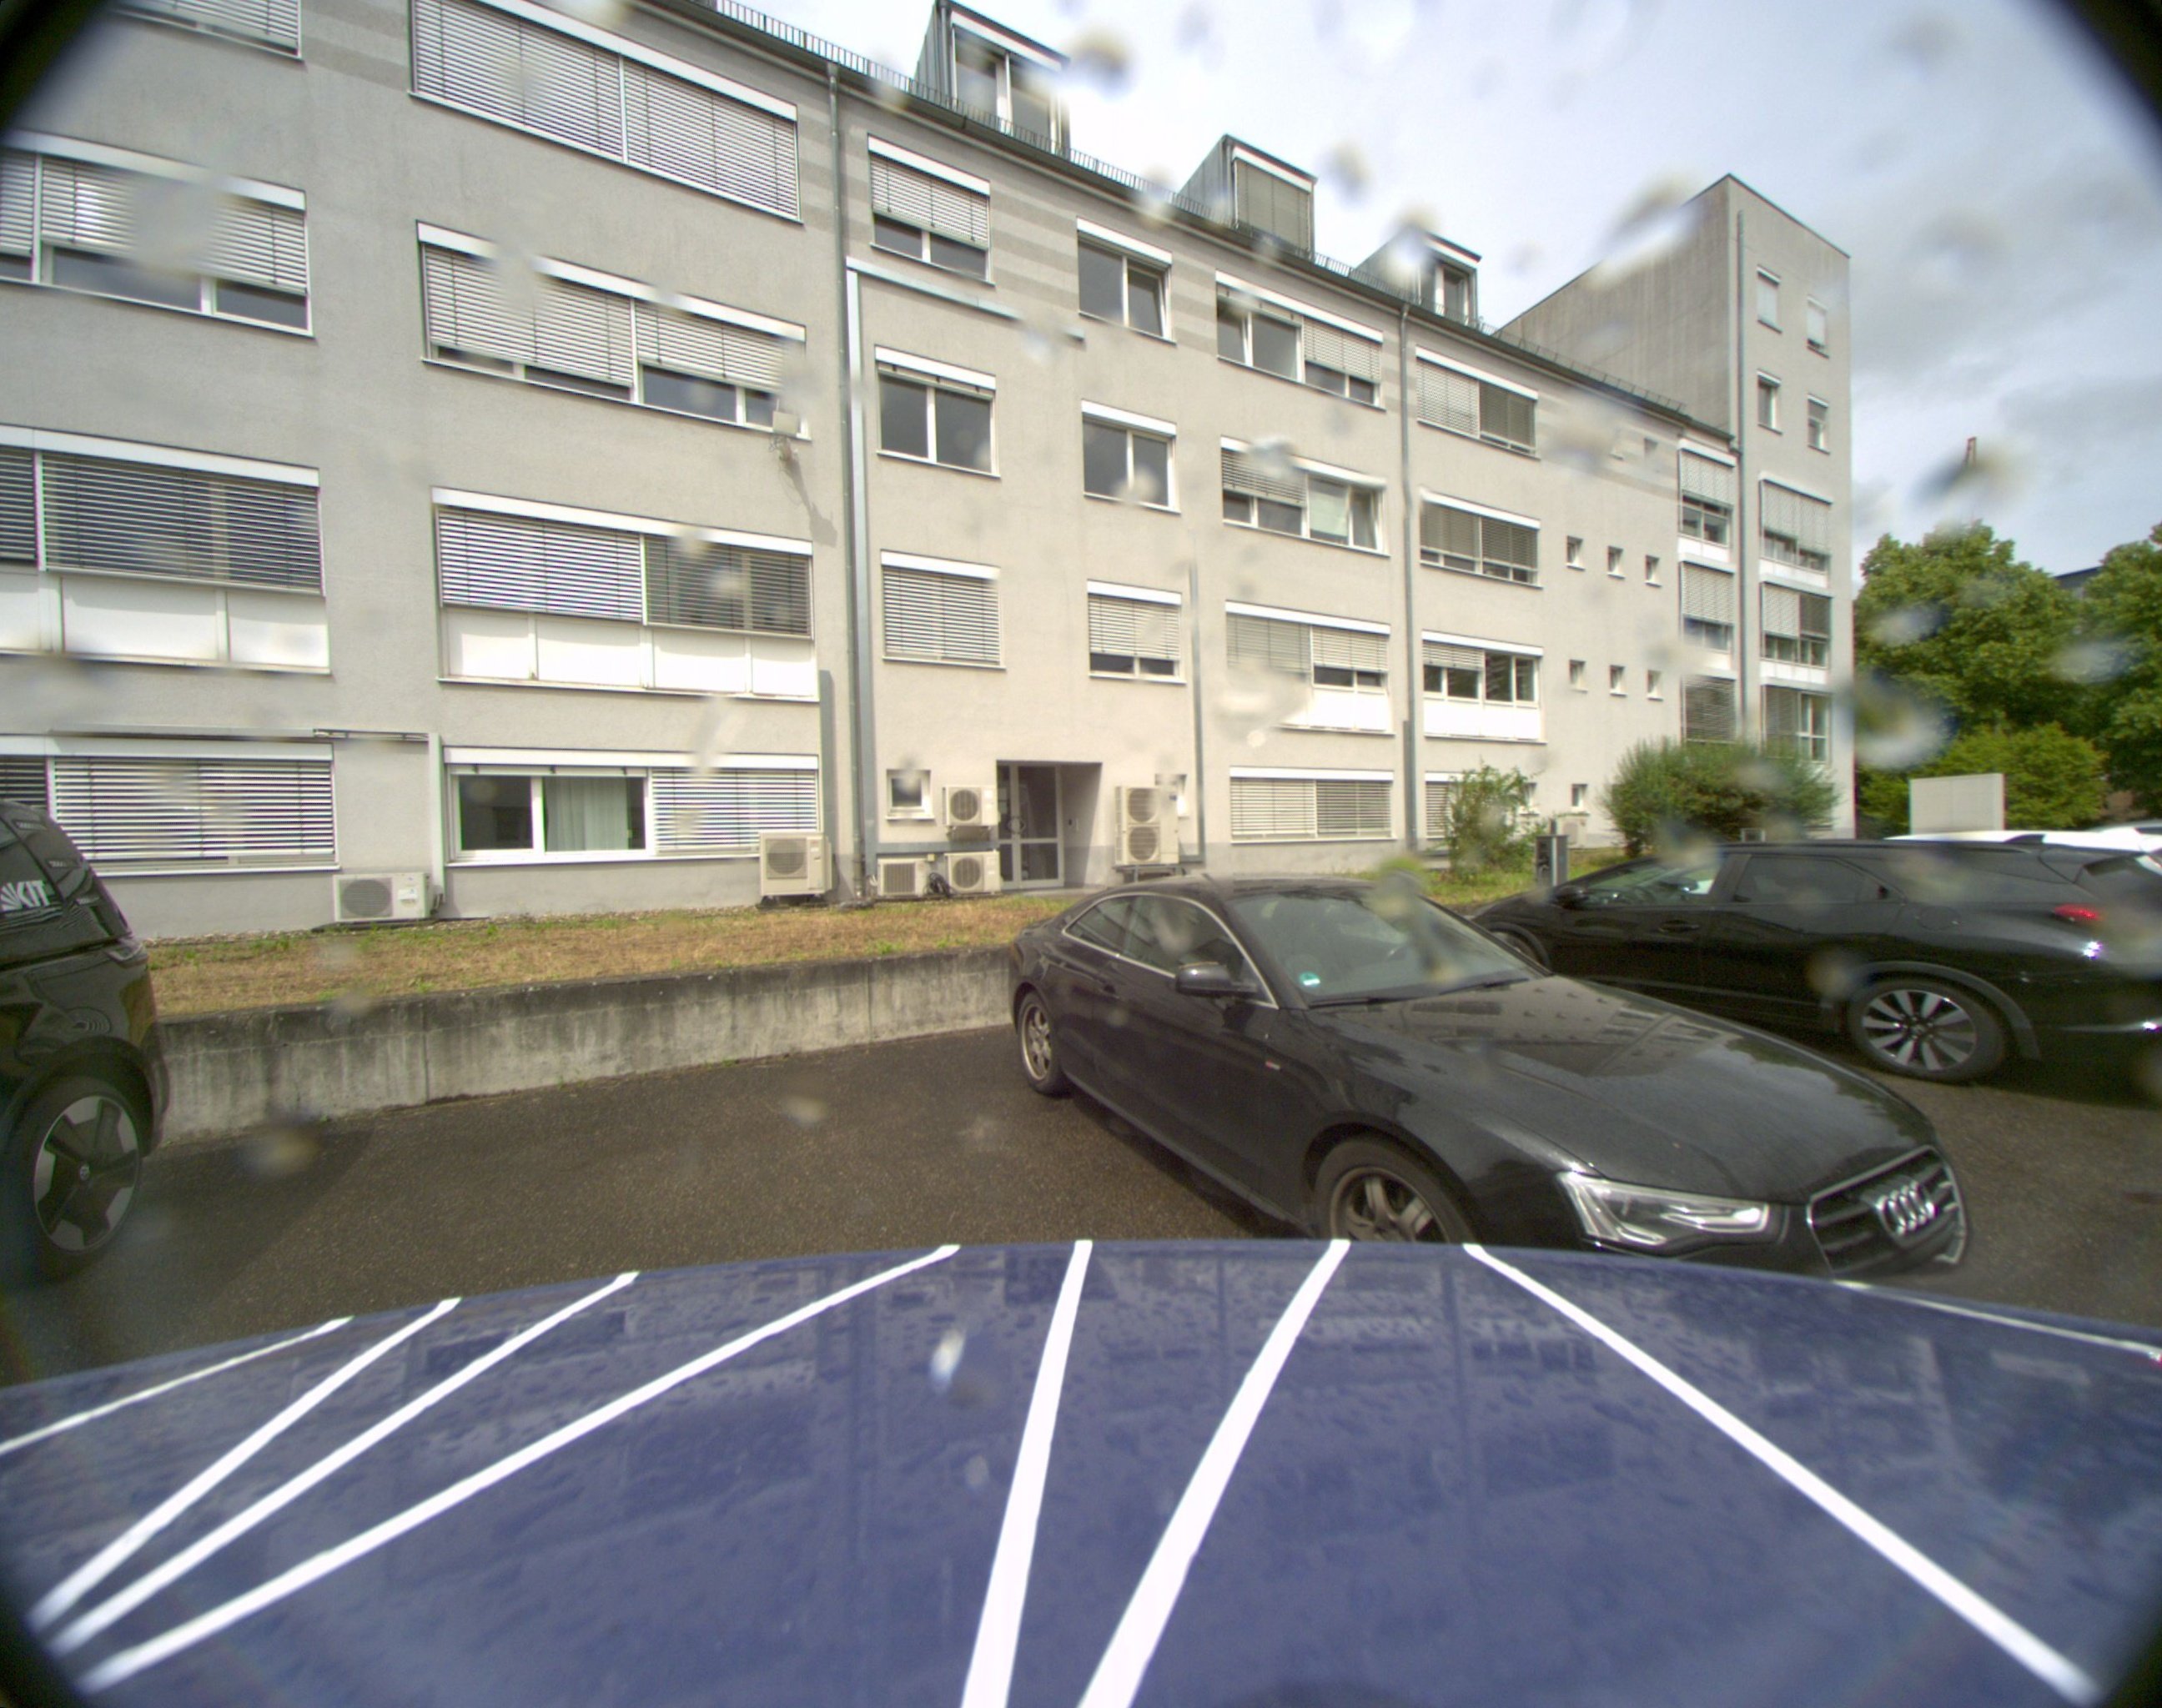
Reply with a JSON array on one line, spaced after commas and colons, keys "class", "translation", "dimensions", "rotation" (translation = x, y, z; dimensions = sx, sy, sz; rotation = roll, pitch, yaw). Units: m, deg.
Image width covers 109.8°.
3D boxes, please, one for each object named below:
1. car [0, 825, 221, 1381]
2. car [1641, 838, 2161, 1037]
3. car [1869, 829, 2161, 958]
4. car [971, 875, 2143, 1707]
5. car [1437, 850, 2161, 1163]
[{"class": "car", "translation": [-4.023, 0.877, 1.108], "dimensions": [1.973, 1.854, 4.737], "rotation": [-2, 2, -27]}, {"class": "car", "translation": [8.200, 0.598, 7.392], "dimensions": [1.698, 1.434, 4.116], "rotation": [-3, 2, -25]}, {"class": "car", "translation": [12.965, 0.431, 9.282], "dimensions": [1.765, 1.434, 4.306], "rotation": [-3, 2, -26]}, {"class": "car", "translation": [1.026, 0.908, 3.668], "dimensions": [1.765, 1.344, 4.519], "rotation": [-3, 2, -26]}, {"class": "car", "translation": [5.187, 0.733, 5.778], "dimensions": [1.765, 1.434, 4.306], "rotation": [-3, 2, -27]}]
